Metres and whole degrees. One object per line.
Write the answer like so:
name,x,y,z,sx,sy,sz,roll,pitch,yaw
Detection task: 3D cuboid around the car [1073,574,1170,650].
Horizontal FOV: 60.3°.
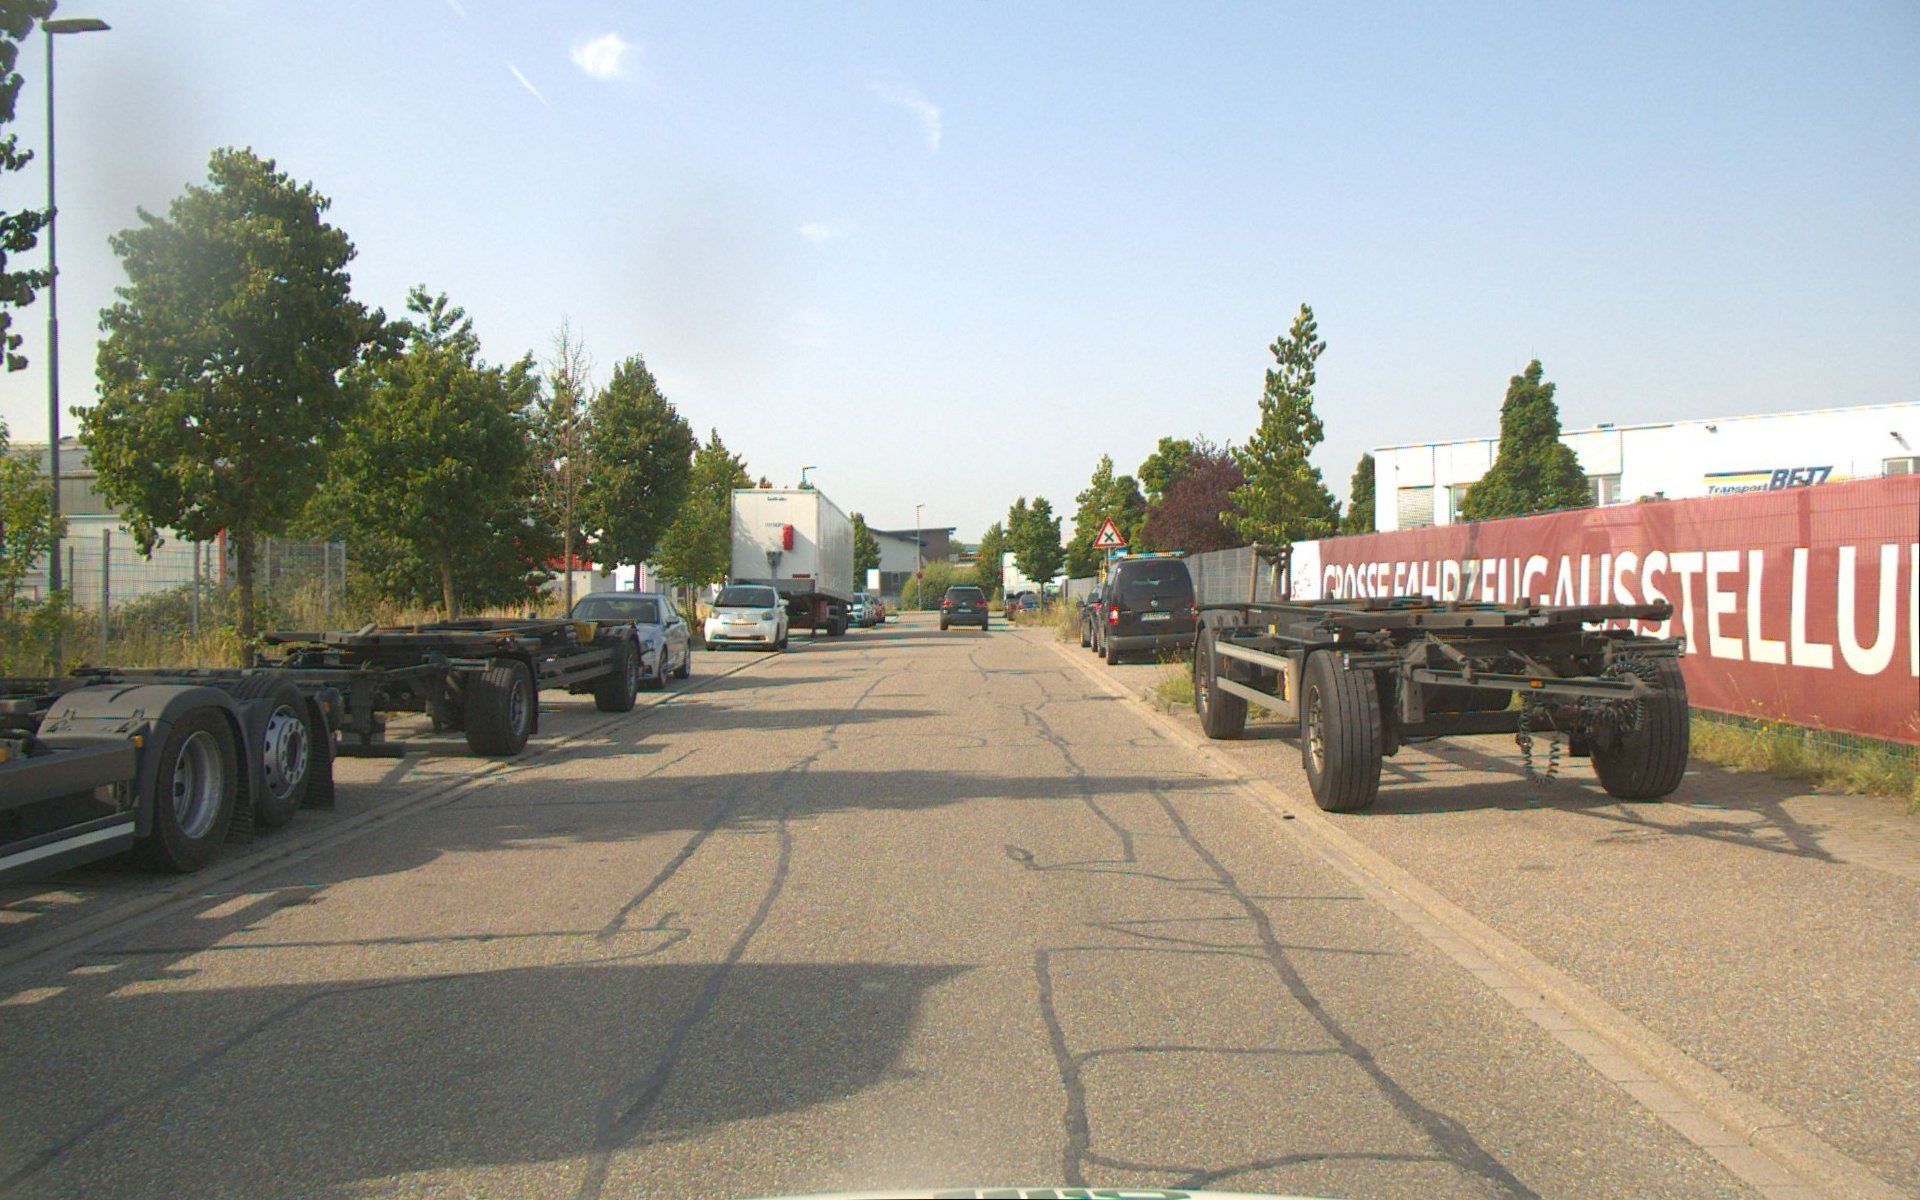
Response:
car,3.494,0.224,36.347,1.781,1.474,3.802,-4,1,2

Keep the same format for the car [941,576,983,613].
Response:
car,0.124,-0.296,83.429,1.952,1.836,4.002,0,1,3

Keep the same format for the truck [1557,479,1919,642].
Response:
truck,21.245,-1.011,45.122,9.154,4.042,2.442,0,1,44

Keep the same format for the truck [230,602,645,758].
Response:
truck,-5.300,0.719,18.075,2.472,1.287,6.526,-1,1,0

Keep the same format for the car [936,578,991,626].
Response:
car,0.107,0.055,65.254,1.954,1.836,3.998,0,0,-3

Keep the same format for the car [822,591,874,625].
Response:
car,-5.274,0.366,78.346,1.952,1.549,4.002,-1,0,4

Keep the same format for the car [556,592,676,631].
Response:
car,-12.419,0.414,59.801,3.902,1.363,1.618,0,1,7

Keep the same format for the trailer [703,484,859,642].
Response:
trailer,-5.461,-1.081,53.561,3.333,4.416,13.920,-1,0,1

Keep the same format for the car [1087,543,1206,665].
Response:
car,3.411,0.032,30.874,1.781,2.012,4.001,-4,1,2

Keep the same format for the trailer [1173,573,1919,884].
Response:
trailer,3.568,0.602,12.881,2.569,1.412,9.454,-3,0,0

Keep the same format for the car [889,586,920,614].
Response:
car,-3.679,-0.022,109.997,1.953,1.803,4.000,0,0,0

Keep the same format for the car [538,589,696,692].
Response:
car,-5.291,0.576,25.986,1.847,1.461,3.997,-1,0,-3

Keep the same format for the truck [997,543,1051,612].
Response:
truck,3.595,-1.230,93.246,2.827,3.649,8.064,-2,0,2

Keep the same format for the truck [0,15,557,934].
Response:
truck,-5.396,-0.558,9.758,2.572,3.997,12.921,0,0,1

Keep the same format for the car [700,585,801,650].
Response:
car,-4.926,0.395,39.414,1.773,1.452,4.001,-1,0,2

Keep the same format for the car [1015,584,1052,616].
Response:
car,3.645,-0.011,82.273,1.781,1.474,3.802,-2,1,2
